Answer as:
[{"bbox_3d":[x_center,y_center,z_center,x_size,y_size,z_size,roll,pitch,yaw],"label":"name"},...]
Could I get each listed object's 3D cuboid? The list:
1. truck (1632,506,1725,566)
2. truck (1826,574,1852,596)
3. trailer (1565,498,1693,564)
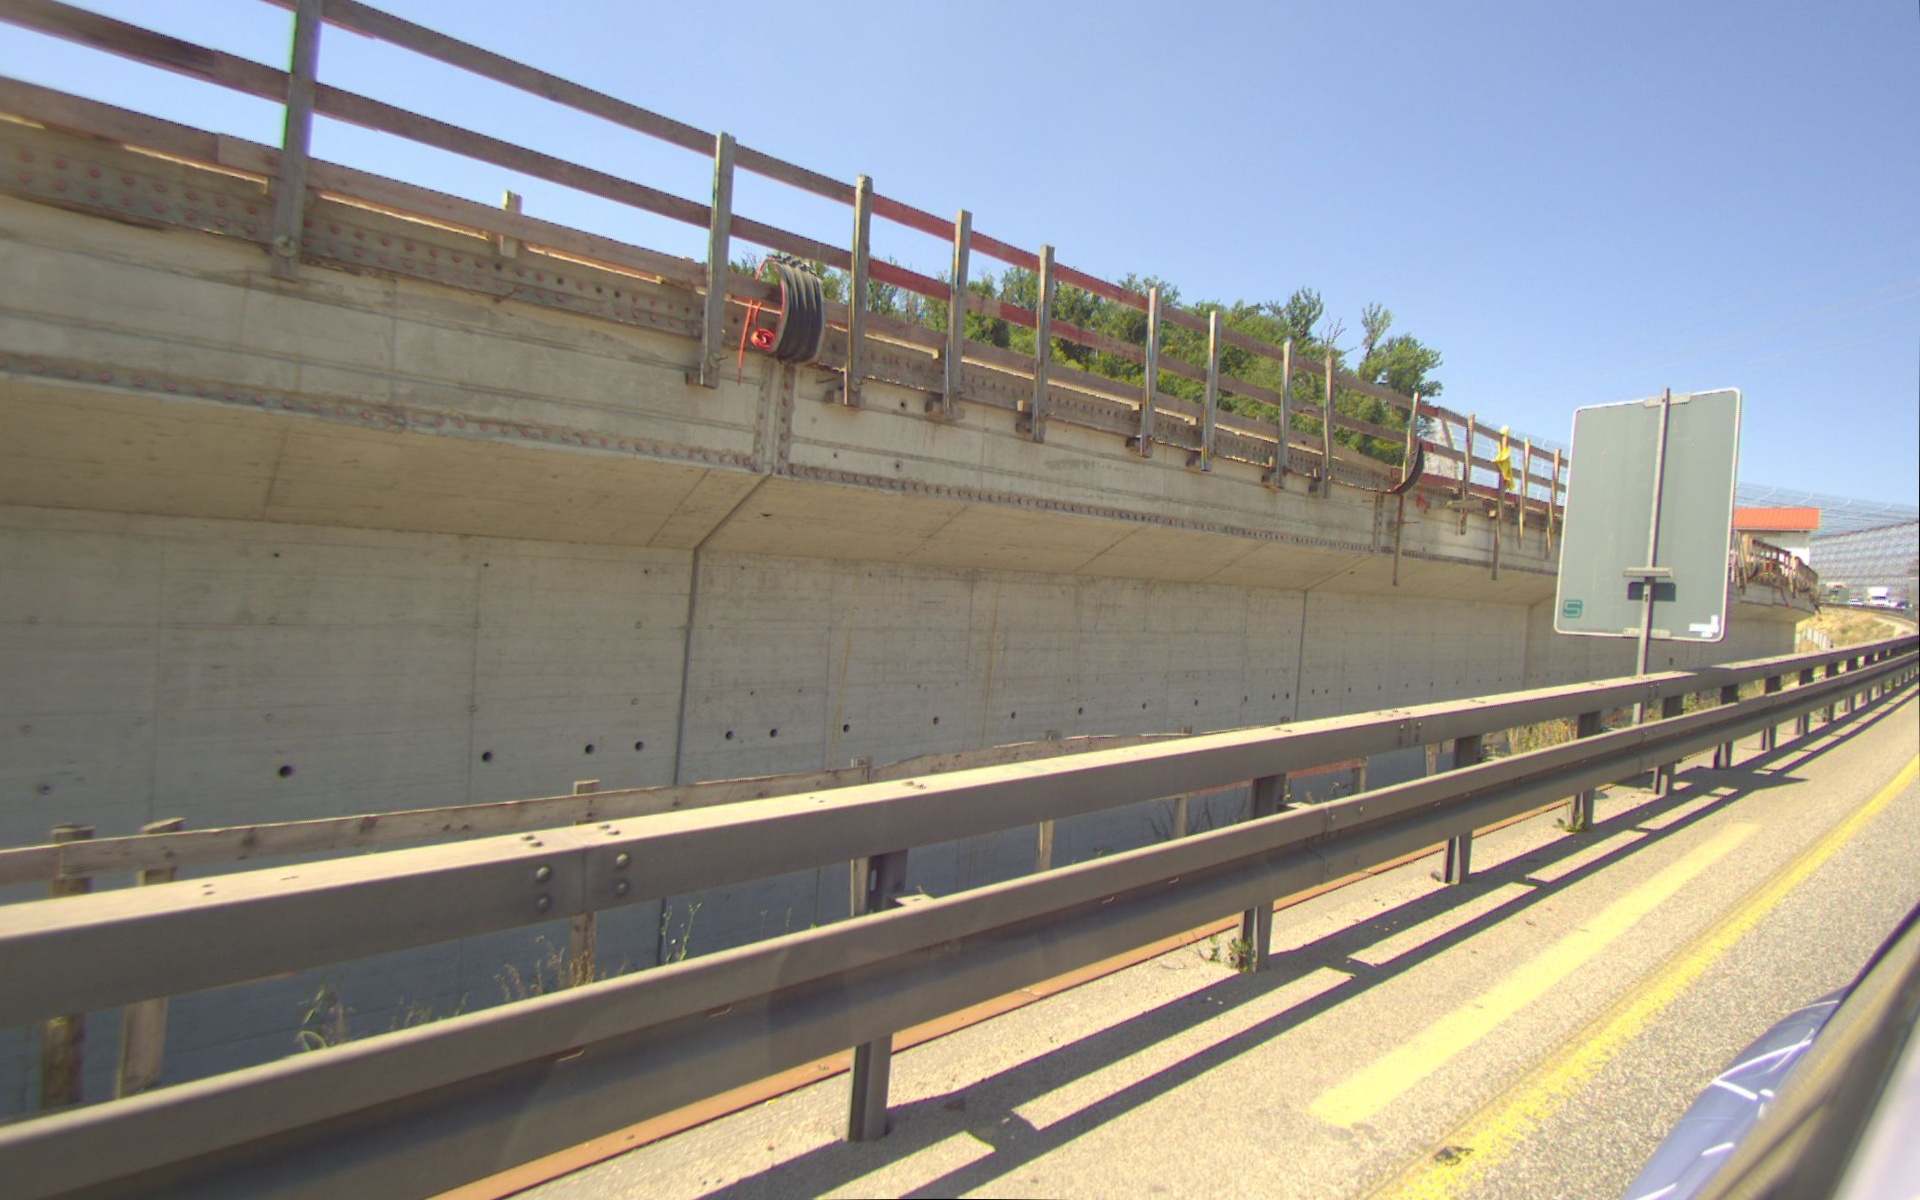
[{"bbox_3d":[50.345,-4.422,70.913,5.591,3.741,2.725,3,-1,-23],"label":"truck"},{"bbox_3d":[154.195,-2.590,177.505,3.034,3.793,8.120,0,1,44],"label":"truck"},{"bbox_3d":[45.522,-4.621,68.851,8.807,3.741,2.725,3,-1,-23],"label":"trailer"}]
